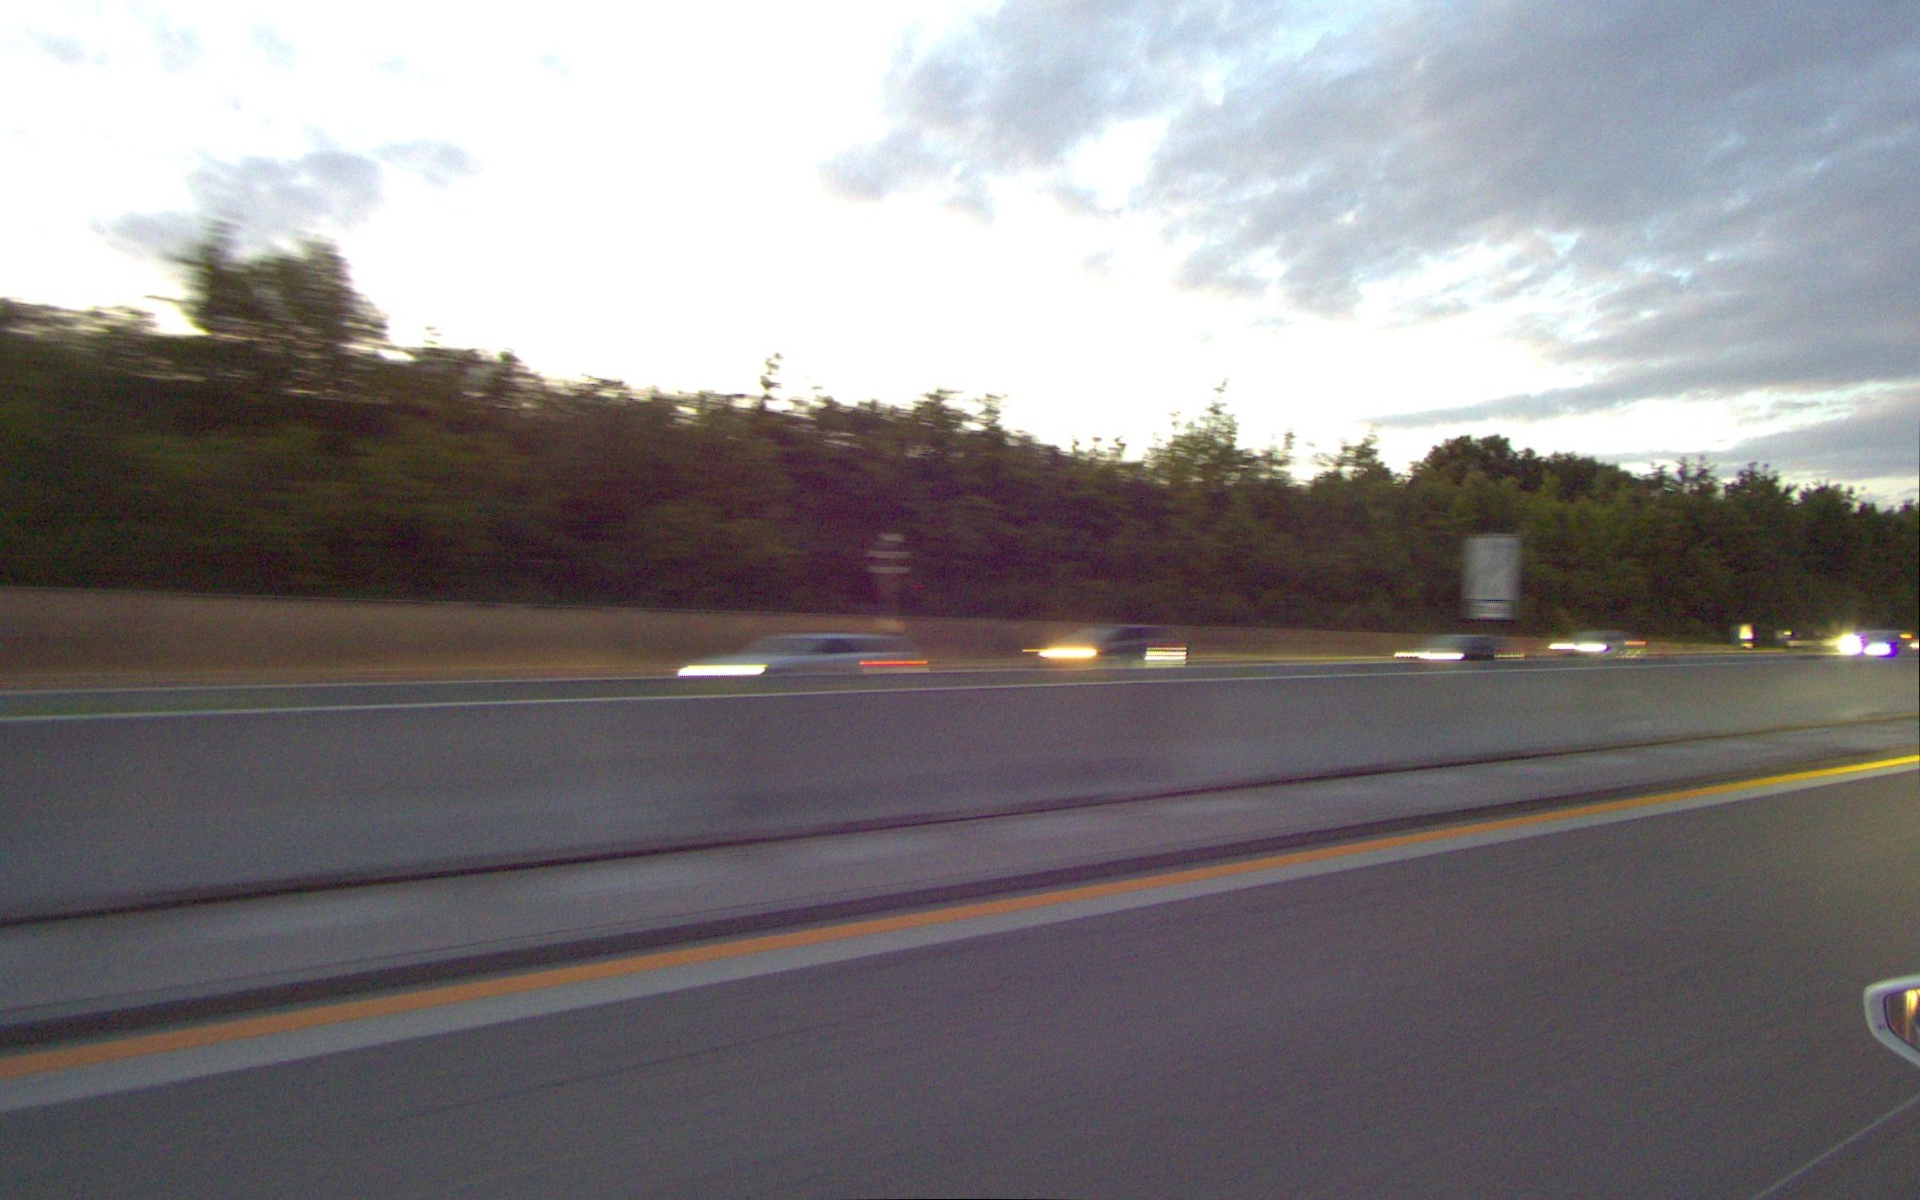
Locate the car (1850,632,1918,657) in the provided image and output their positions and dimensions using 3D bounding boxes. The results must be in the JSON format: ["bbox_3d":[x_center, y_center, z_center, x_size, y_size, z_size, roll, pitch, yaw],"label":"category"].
[{"bbox_3d":[60.519,2.922,65.769,4.643,1.505,1.818,2,0,-28],"label":"car"}]

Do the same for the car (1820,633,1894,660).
[{"bbox_3d":[53.701,2.775,60.139,4.643,1.505,1.803,2,0,-28],"label":"car"}]

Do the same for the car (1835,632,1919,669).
[{"bbox_3d":[48.444,2.654,52.970,4.748,1.761,1.893,2,0,-28],"label":"car"}]

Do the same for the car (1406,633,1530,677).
[{"bbox_3d":[18.693,2.006,36.940,4.612,1.474,1.743,2,0,-29],"label":"car"}]

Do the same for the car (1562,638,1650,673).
[{"bbox_3d":[30.161,2.574,46.905,4.127,1.528,1.657,2,0,-29],"label":"car"}]

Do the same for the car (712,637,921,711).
[{"bbox_3d":[-3.518,1.783,24.918,4.820,1.610,1.798,2,0,-30],"label":"car"}]

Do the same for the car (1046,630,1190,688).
[{"bbox_3d":[5.227,1.909,33.016,4.615,1.745,1.742,2,0,-30],"label":"car"}]
